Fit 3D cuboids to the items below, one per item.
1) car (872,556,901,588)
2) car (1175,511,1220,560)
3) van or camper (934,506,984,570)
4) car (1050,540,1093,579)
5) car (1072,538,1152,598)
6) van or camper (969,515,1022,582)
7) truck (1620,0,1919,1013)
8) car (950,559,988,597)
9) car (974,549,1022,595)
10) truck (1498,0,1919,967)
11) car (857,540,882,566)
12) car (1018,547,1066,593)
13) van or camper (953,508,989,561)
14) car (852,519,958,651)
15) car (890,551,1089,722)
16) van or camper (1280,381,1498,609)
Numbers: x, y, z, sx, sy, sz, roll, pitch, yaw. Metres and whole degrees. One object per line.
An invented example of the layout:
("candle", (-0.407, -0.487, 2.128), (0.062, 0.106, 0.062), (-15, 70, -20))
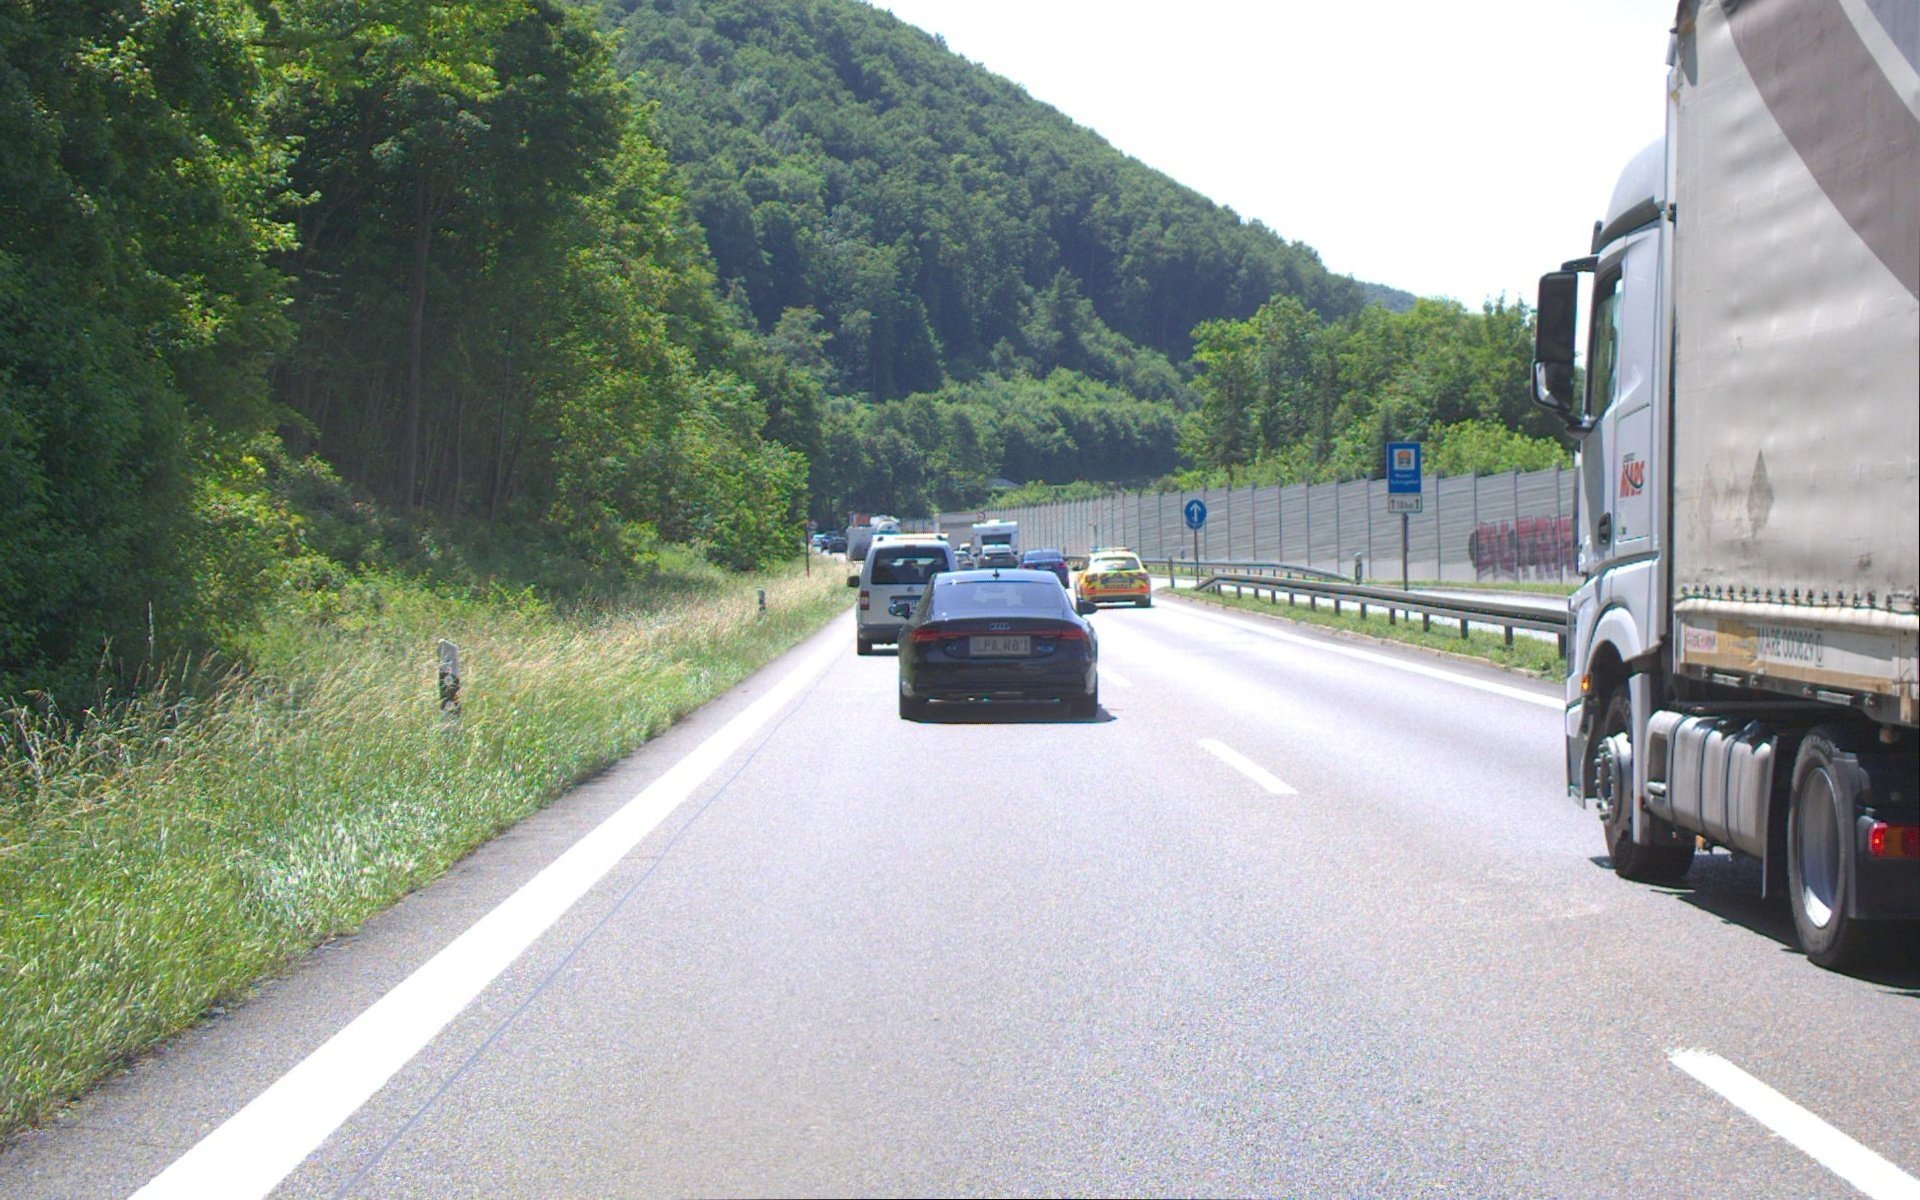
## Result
("car", (-4.106, -1.565, 192.223), (1.489, 1.659, 3.590), (3, 0, -1))
("car", (9.817, -2.661, 142.375), (1.576, 2.007, 3.428), (1, 1, 0))
("van or camper", (-0.105, -3.950, 220.777), (2.794, 3.894, 6.167), (3, 0, -2))
("car", (5.844, -2.122, 180.508), (1.993, 2.007, 4.000), (1, 1, -2))
("car", (3.959, -0.842, 90.191), (1.879, 1.493, 4.000), (1, 1, 0))
("van or camper", (1.779, -2.579, 173.804), (2.429, 3.144, 5.203), (3, 0, 0))
("truck", (4.463, -0.699, 8.079), (2.726, 4.054, 13.742), (2, 0, -1))
("car", (0.374, -0.949, 147.264), (1.530, 1.520, 3.597), (3, 0, 0))
("car", (1.759, -1.302, 159.977), (2.086, 2.007, 4.000), (3, 0, -1))
("truck", (4.282, -0.709, 14.983), (2.719, 4.054, 5.754), (2, 0, -1))
("car", (-5.691, -2.970, 216.270), (1.489, 1.491, 3.590), (3, 0, -1))
("car", (2.899, -1.067, 122.074), (1.530, 1.520, 3.597), (3, 0, 0))
("van or camper", (0.799, -4.822, 255.548), (2.448, 3.676, 6.588), (3, 0, -1))
("car", (-0.879, -0.241, 54.942), (1.521, 1.961, 3.514), (3, 0, -1))
("car", (0.249, 0.307, 33.253), (1.812, 1.509, 3.515), (-1, 1, -1))
("van or camper", (7.738, -1.815, 62.725), (2.794, 3.828, 6.167), (3, 0, -2))
